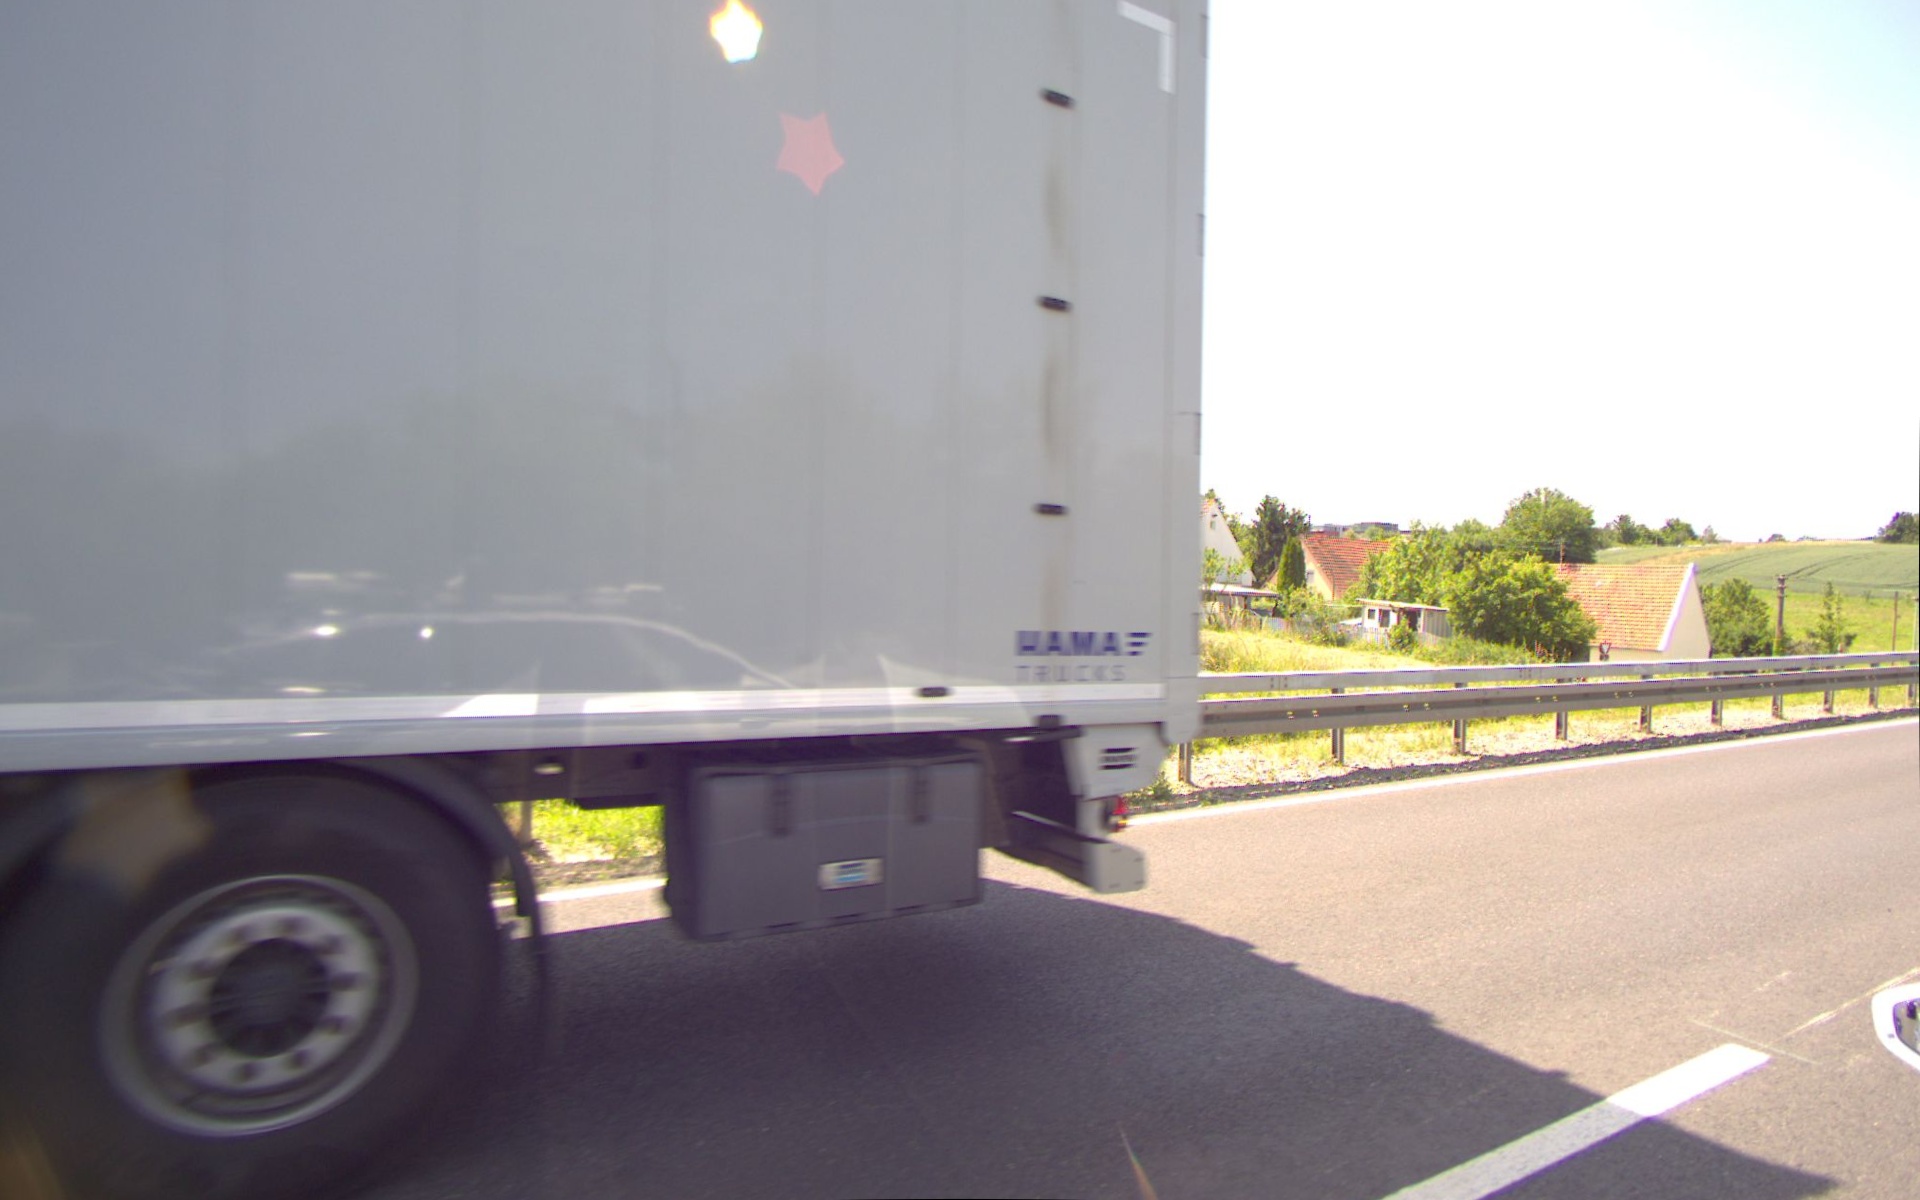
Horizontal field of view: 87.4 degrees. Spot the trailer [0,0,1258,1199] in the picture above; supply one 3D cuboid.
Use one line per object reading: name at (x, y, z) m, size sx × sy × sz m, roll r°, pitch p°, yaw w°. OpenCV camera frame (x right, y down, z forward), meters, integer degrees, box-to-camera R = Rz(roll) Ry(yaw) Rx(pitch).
trailer at (-5.447, -0.763, 1.365) m, size 13.850 × 4.240 × 2.434 m, roll 1°, pitch 0°, yaw -30°
